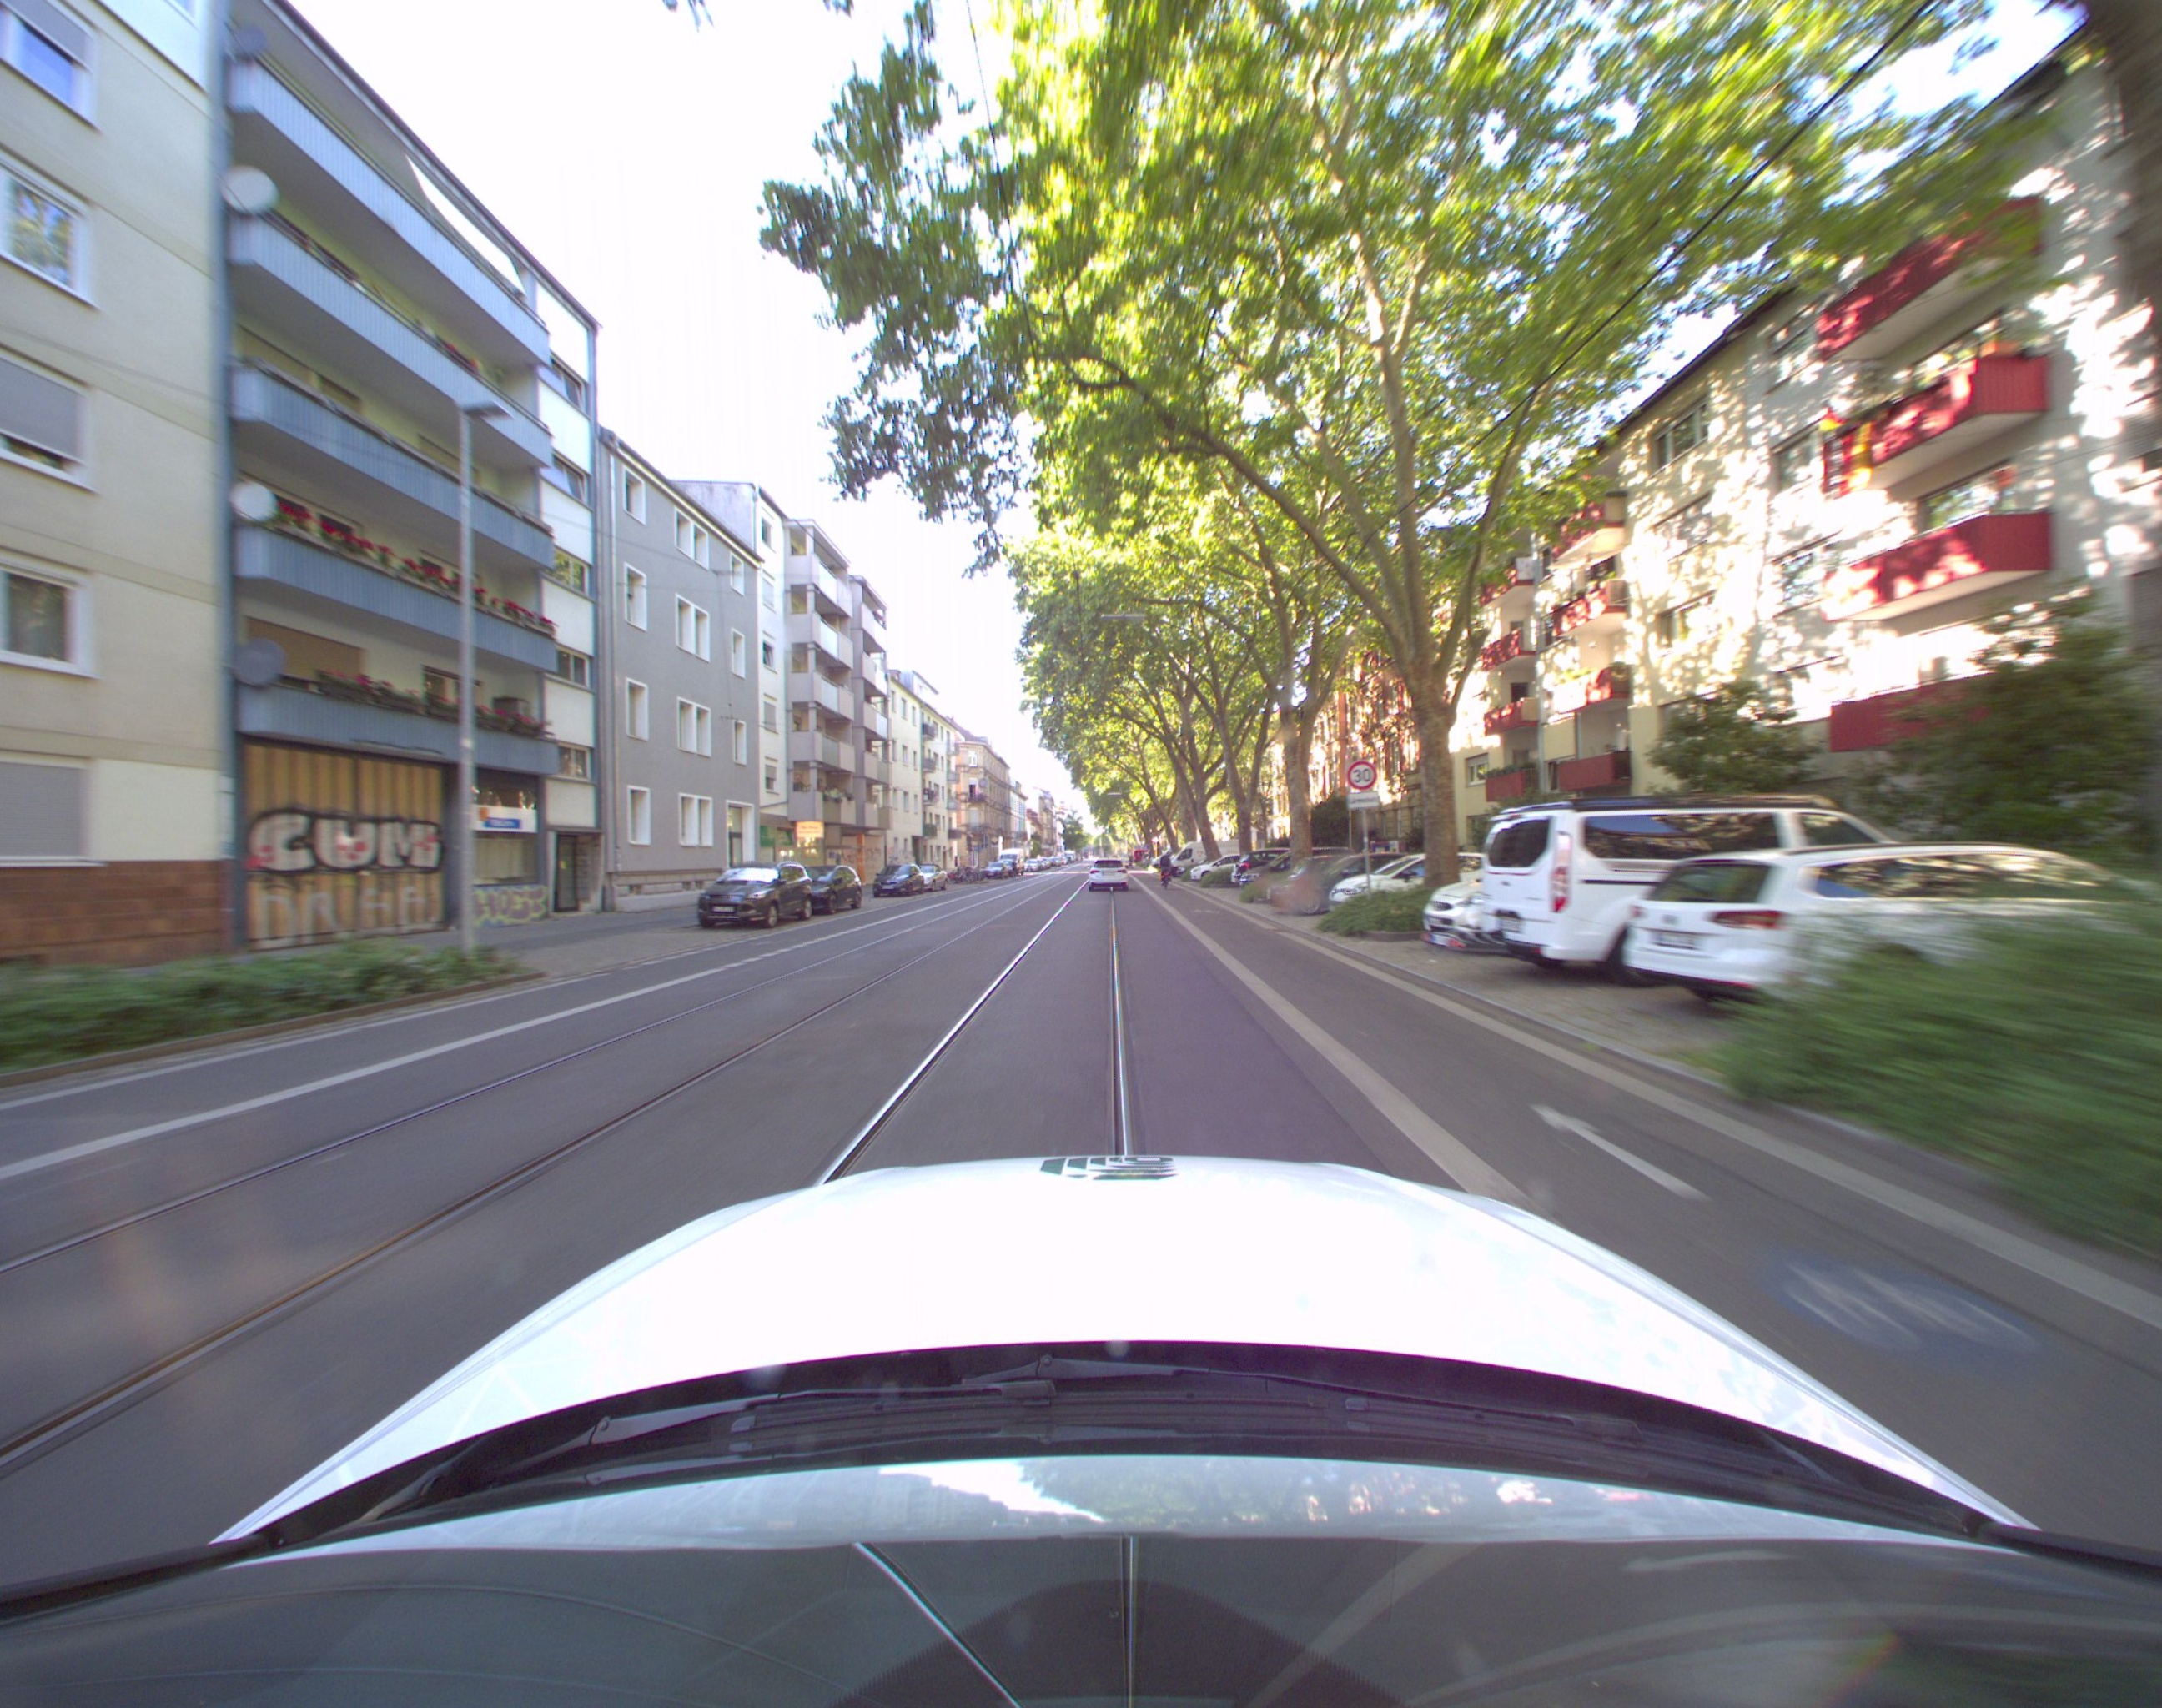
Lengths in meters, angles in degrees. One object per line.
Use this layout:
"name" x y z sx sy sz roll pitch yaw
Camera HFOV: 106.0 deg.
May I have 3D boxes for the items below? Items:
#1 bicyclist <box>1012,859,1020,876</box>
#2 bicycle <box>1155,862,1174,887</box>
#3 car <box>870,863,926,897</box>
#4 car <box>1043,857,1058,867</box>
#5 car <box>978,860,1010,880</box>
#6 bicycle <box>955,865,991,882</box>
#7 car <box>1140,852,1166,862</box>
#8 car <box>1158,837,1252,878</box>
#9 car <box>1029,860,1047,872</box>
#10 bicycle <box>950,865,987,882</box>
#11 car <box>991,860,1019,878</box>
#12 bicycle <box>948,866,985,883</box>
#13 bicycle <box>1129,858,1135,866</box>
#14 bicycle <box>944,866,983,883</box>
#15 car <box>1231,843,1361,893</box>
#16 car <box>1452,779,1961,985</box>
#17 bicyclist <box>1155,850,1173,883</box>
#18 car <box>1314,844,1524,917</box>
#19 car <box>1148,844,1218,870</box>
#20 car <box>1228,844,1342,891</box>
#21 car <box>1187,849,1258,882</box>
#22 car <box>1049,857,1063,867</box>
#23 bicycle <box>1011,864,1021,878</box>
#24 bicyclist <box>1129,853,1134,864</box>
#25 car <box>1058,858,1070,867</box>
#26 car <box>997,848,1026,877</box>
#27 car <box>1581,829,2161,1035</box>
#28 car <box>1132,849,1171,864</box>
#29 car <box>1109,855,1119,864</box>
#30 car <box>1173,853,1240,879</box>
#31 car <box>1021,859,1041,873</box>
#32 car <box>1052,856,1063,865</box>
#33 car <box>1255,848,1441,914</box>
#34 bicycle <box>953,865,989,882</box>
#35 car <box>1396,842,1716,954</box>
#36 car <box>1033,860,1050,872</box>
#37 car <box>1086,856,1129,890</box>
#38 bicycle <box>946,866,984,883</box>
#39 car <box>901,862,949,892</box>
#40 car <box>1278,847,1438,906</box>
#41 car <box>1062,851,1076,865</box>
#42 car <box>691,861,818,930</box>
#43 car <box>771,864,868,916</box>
"bicyclist" -5.237 1.077 65.591 0.595 1.286 0.917 -2 0 -1
"bicycle" 3.742 0.915 36.611 0.679 1.071 1.782 -2 0 2
"car" -8.405 1.147 37.719 1.648 1.437 3.836 -1 0 0
"car" -4.827 1.271 128.287 1.986 1.530 4.002 -2 0 2
"car" -7.127 1.259 66.934 1.986 1.530 4.002 -2 0 2
"bicycle" -7.874 1.422 59.574 2.520 1.172 0.718 0 -2 -5
"car" 11.511 0.440 130.841 4.034 1.540 2.001 -2 0 1
"car" 8.583 0.259 56.707 6.111 2.635 2.529 -2 0 0
"car" -5.689 1.548 108.133 1.986 1.530 4.002 -2 0 2
"bicycle" -7.942 1.407 57.670 2.519 1.172 0.718 0 -2 -4
"car" -6.769 1.321 72.710 1.986 1.530 4.002 -2 0 2
"bicycle" -7.952 1.406 56.682 2.519 1.172 0.718 0 -2 -4
"bicycle" 6.464 1.029 104.042 0.647 1.071 1.583 -2 0 0
"bicycle" -7.938 1.398 55.010 2.545 1.172 0.873 2 -2 -38
"car" 7.725 0.497 29.535 4.220 1.666 1.848 -2 0 0
"car" 7.157 0.299 9.715 4.530 2.076 2.000 -2 0 -1
"bicyclist" 3.735 0.536 36.669 0.676 1.443 1.048 -2 0 2
"car" 7.611 0.581 18.667 4.021 1.479 1.924 -2 0 1
"car" 9.349 0.279 75.322 6.111 2.282 2.529 -2 0 0
"car" 7.915 0.499 31.838 3.973 1.680 1.723 -2 0 0
"car" 7.663 0.634 44.463 3.618 1.666 1.824 -2 0 4
"car" -4.126 1.319 134.965 1.986 1.640 4.002 -1 -1 2
"bicycle" -5.231 1.342 65.545 0.603 1.071 1.582 -2 0 -1
"bicyclist" 6.443 0.541 104.056 0.647 1.344 0.934 -2 0 0
"car" -3.233 1.562 155.432 1.986 1.640 4.002 -1 -1 2
"car" -6.676 0.816 78.660 2.170 2.597 4.951 -2 0 2
"car" 7.090 0.584 7.134 4.282 1.479 1.831 -2 0 0
"car" 11.723 0.356 135.533 6.111 2.282 2.529 -2 0 0
"car" 6.120 1.018 150.297 1.755 1.475 4.002 -2 0 2
"car" 8.260 0.790 53.875 4.041 1.540 1.997 -2 0 -4
"car" -6.032 1.438 98.982 1.986 1.530 4.002 -2 0 2
"car" -5.167 1.485 180.127 1.986 2.013 4.002 -2 0 2
"car" 6.759 0.662 20.940 4.128 1.514 1.931 -2 0 0
"bicycle" -7.917 1.410 58.520 2.519 1.172 0.718 0 -2 -4
"car" 7.096 0.625 12.429 3.886 1.479 1.722 -2 0 -2
"car" -5.439 1.604 112.939 1.986 1.530 4.002 -2 0 2
"car" 1.188 0.791 35.947 1.755 1.384 4.002 -2 0 2
"bicycle" -7.967 1.401 55.795 2.520 1.172 0.718 0 -2 -5
"car" -8.128 1.172 42.756 1.478 1.403 3.995 -1 0 4
"car" 7.867 0.611 23.358 3.973 1.514 1.761 -2 0 0
"car" -2.922 1.008 201.549 2.957 3.156 5.849 -1 -1 2
"car" -8.700 1.034 22.121 1.696 1.650 4.241 1 0 0
"car" -8.603 1.125 27.171 1.696 1.544 4.243 1 0 2
